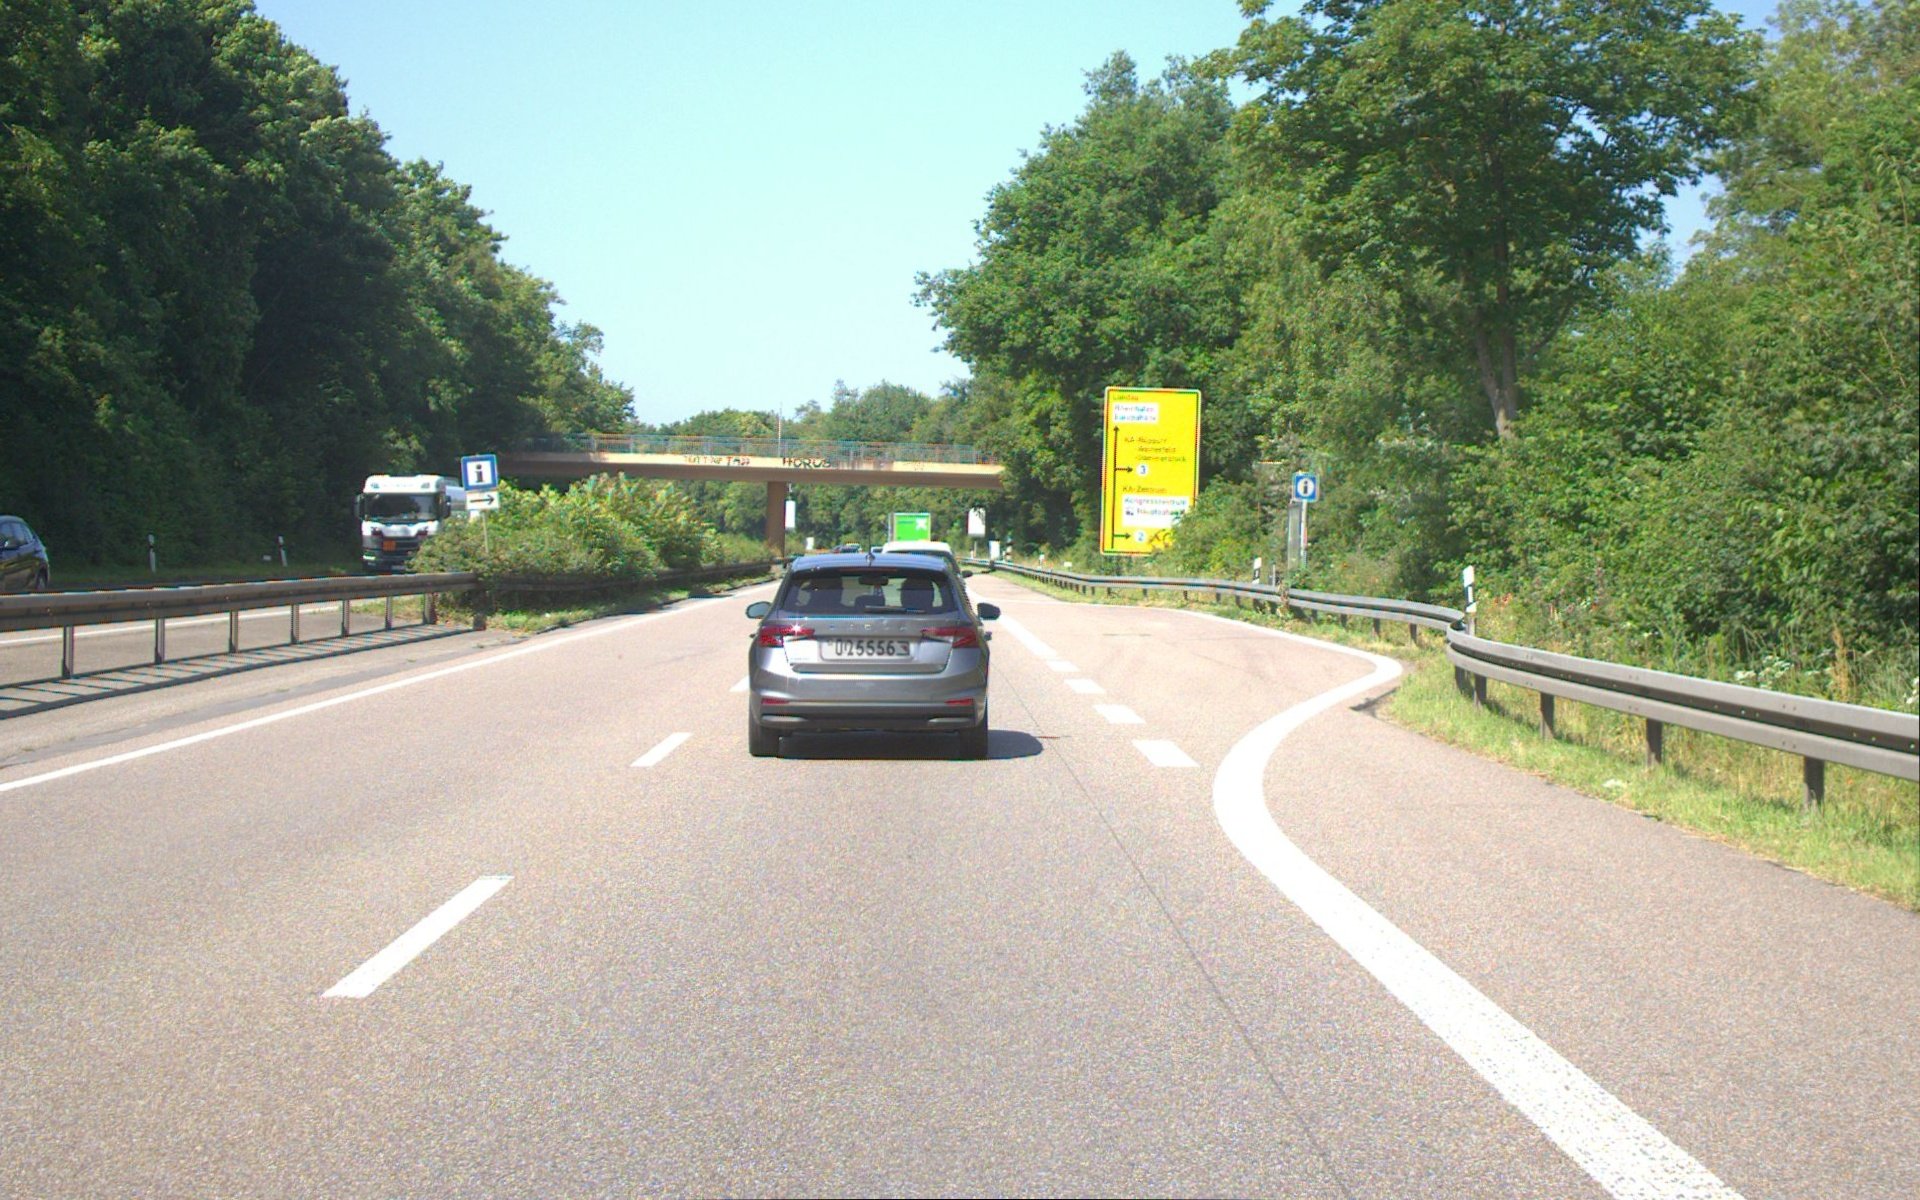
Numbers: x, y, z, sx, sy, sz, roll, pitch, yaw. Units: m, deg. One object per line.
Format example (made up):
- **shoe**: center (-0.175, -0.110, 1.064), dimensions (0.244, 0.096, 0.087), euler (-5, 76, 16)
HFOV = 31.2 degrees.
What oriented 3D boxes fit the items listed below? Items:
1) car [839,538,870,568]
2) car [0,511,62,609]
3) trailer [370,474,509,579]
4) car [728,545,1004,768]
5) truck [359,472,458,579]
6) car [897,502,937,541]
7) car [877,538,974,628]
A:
- **car**: center (-7.138, -3.163, 232.451), dimensions (1.993, 2.007, 4.000), euler (1, 1, -1)
- **car**: center (-15.632, -0.643, 53.778), dimensions (1.842, 1.505, 4.551), euler (1, 1, 2)
- **trailer**: center (-17.187, -2.391, 114.507), dimensions (2.492, 3.224, 14.432), euler (1, 1, 0)
- **car**: center (-0.616, 0.354, 25.202), dimensions (1.840, 1.467, 3.623), euler (1, 1, 1)
- **truck**: center (-17.196, -2.323, 107.397), dimensions (2.425, 3.247, 4.000), euler (1, 1, 0)
- **car**: center (-2.999, -5.481, 241.157), dimensions (2.748, 2.645, 4.000), euler (1, 1, -1)
- **car**: center (-0.558, -0.307, 58.195), dimensions (1.522, 1.442, 3.340), euler (1, 1, 1)
